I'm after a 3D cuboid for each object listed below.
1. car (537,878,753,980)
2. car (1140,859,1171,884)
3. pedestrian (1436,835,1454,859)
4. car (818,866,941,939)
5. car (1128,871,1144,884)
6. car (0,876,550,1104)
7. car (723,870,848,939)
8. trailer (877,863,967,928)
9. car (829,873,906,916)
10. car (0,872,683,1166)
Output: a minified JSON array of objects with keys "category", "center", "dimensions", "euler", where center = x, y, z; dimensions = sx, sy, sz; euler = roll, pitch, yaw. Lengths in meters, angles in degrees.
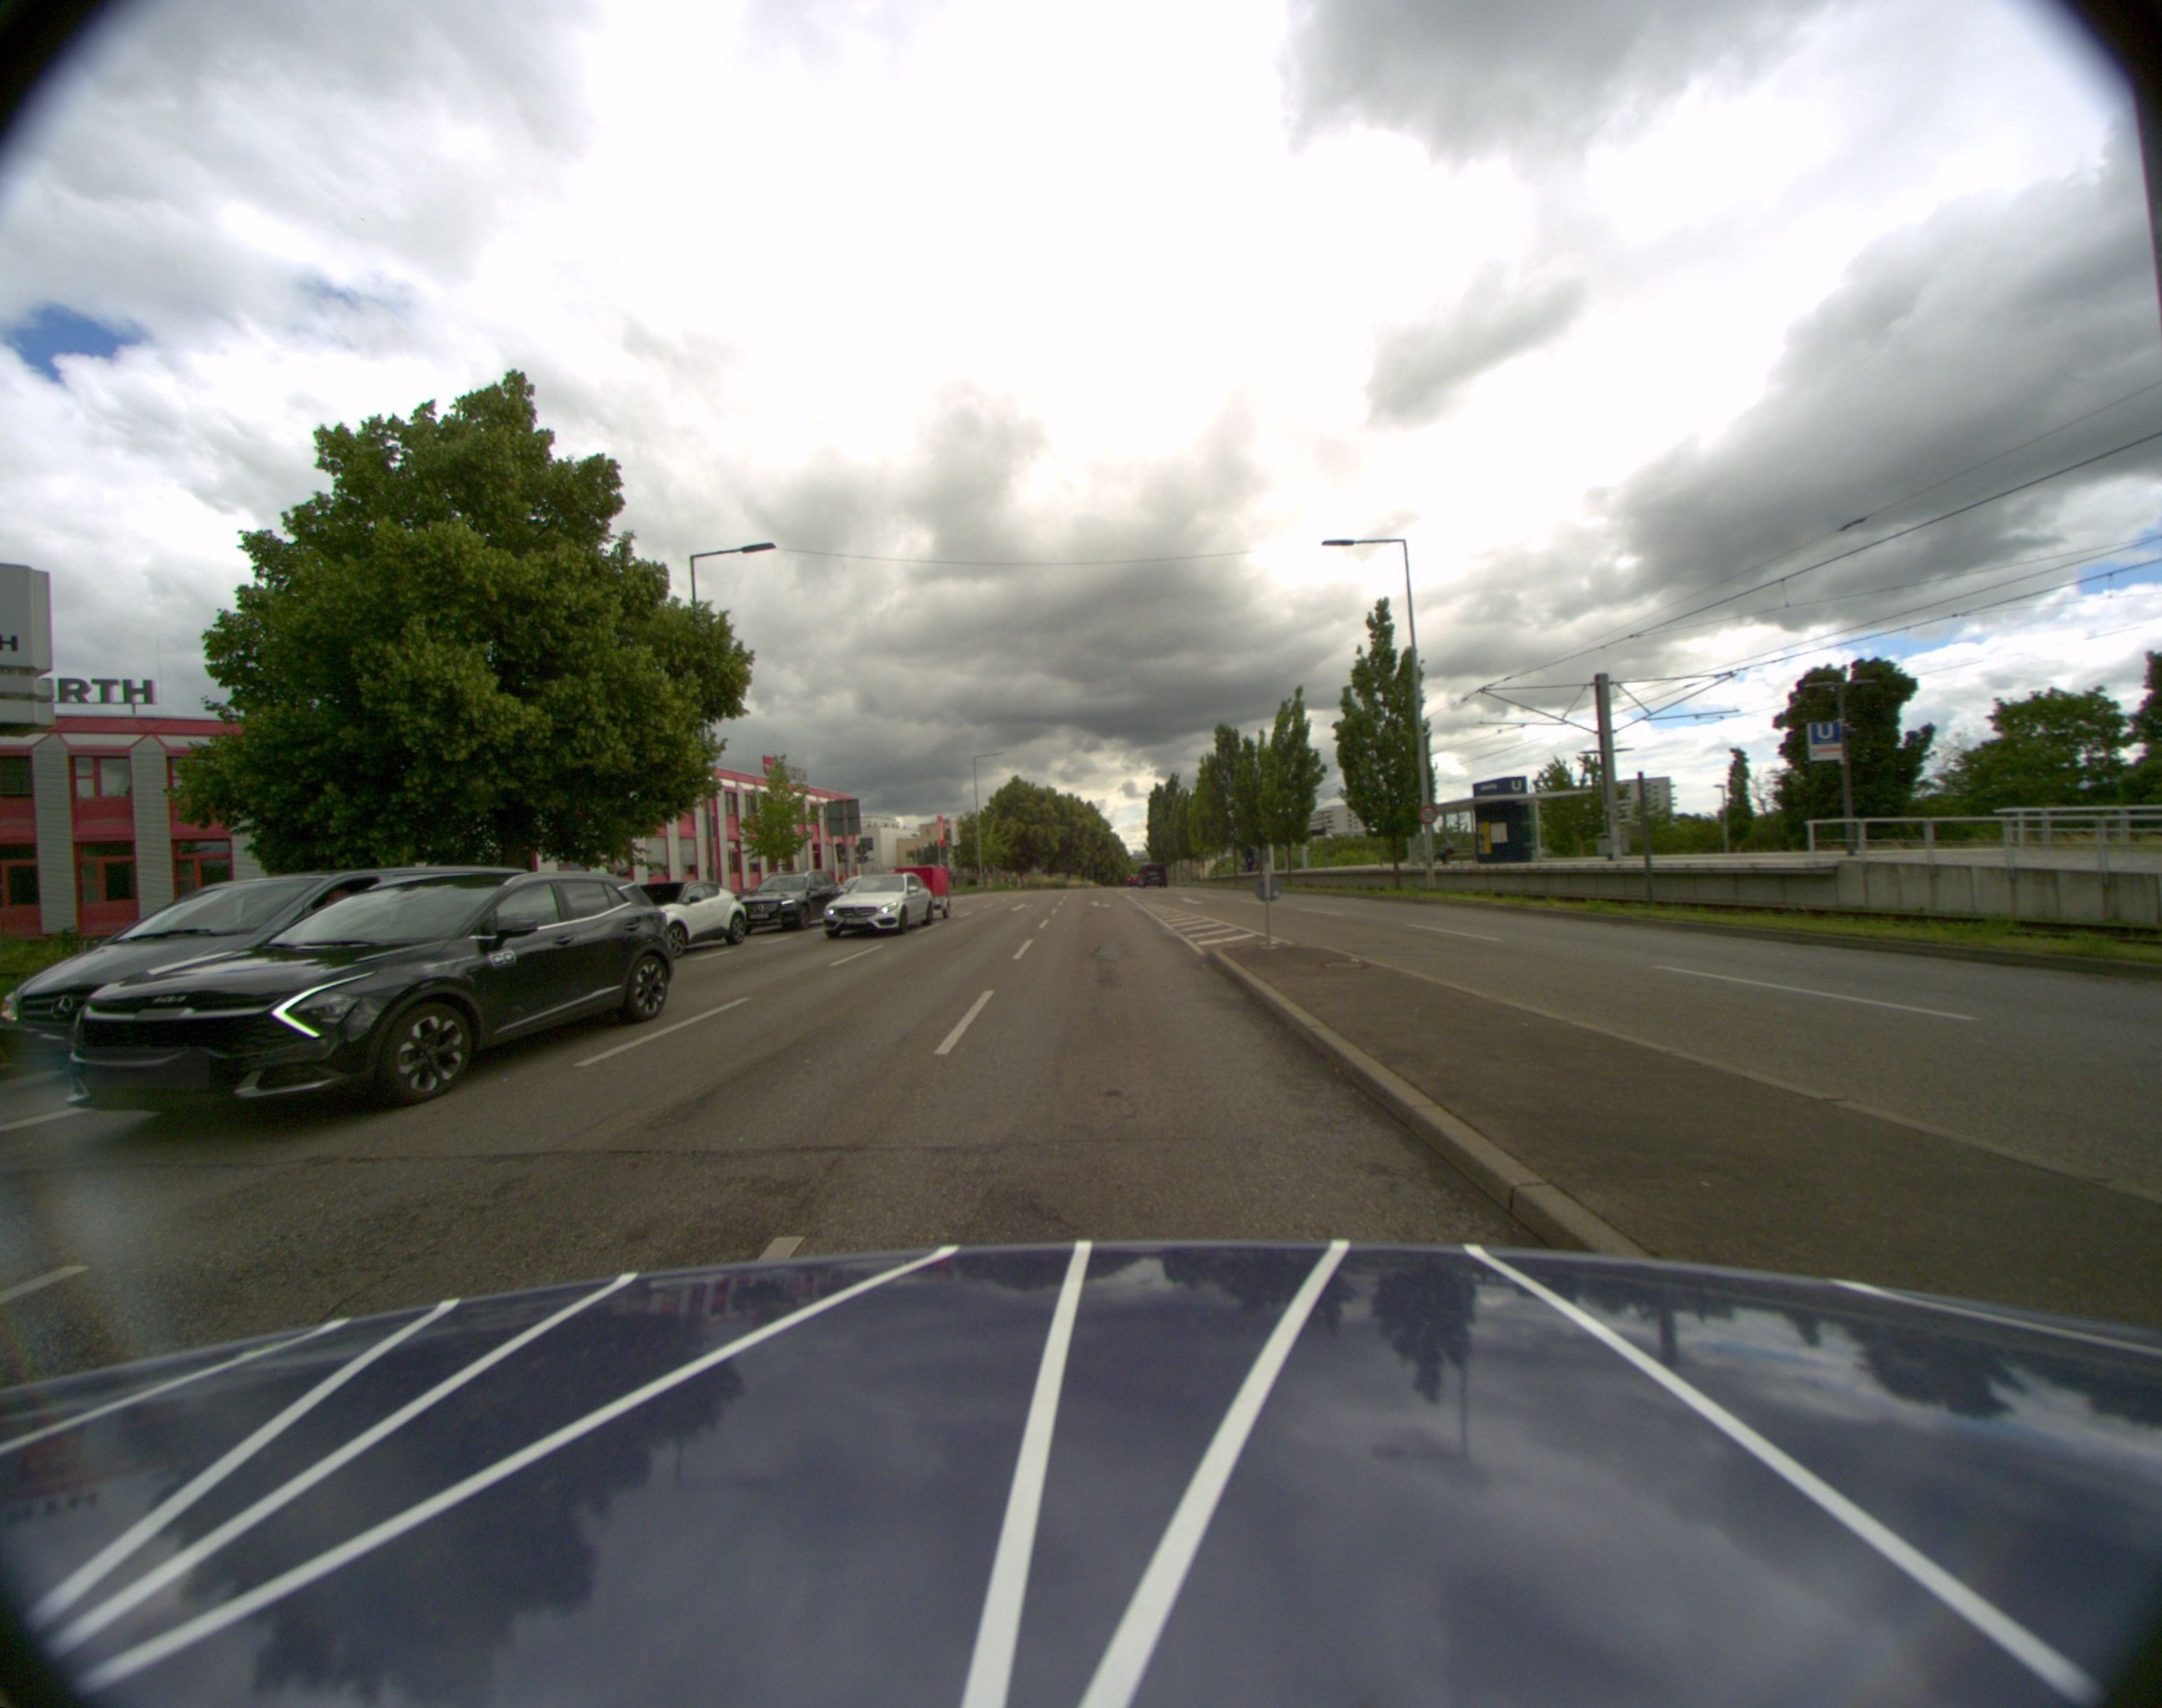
[{"category":"car","center":[-8.592,1.387,15.487],"dimensions":[1.844,1.507,4.106],"euler":[-6,0,1]},{"category":"car","center":[5.748,1.306,59.142],"dimensions":[1.892,1.802,5.093],"euler":[-2,-1,1]},{"category":"pedestrian","center":[17.590,-0.353,36.742],"dimensions":[0.601,1.148,0.447],"euler":[-2,1,1]},{"category":"car","center":[-4.930,1.126,19.220],"dimensions":[1.775,1.442,4.401],"euler":[-2,1,1]},{"category":"car","center":[6.863,2.972,95.343],"dimensions":[1.740,1.499,3.660],"euler":[-2,0,1]},{"category":"car","center":[-8.830,1.254,8.842],"dimensions":[1.763,1.764,4.676],"euler":[-5,-1,2]},{"category":"car","center":[-8.443,1.378,22.161],"dimensions":[1.865,1.648,4.209],"euler":[-4,-1,1]},{"category":"trailer","center":[-4.787,1.199,23.410],"dimensions":[1.775,1.650,3.996],"euler":[-2,1,1]},{"category":"car","center":[-8.473,1.560,30.521],"dimensions":[1.763,1.431,4.370],"euler":[-3,0,0]},{"category":"car","center":[-5.500,1.022,6.563],"dimensions":[1.798,1.521,4.218],"euler":[-2,1,1]}]
